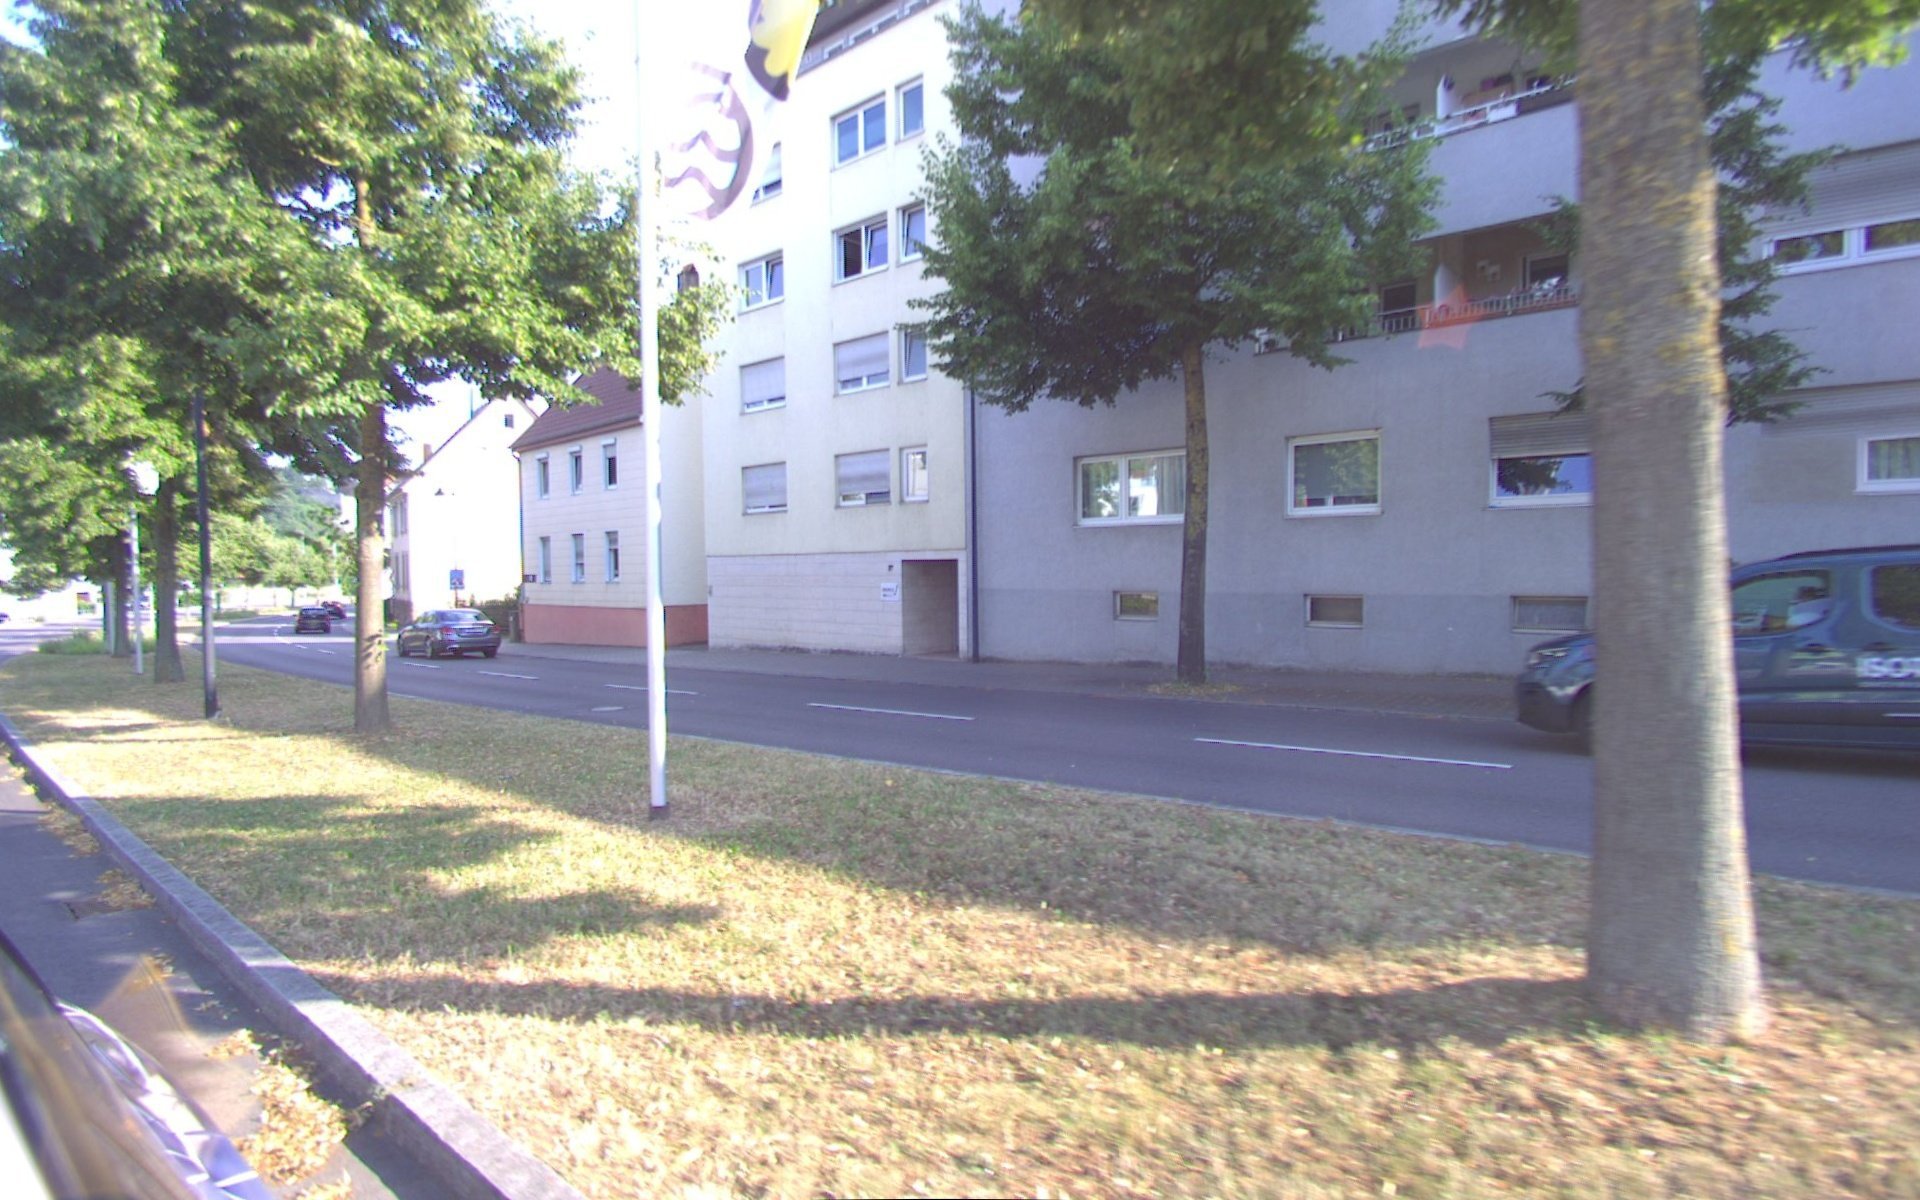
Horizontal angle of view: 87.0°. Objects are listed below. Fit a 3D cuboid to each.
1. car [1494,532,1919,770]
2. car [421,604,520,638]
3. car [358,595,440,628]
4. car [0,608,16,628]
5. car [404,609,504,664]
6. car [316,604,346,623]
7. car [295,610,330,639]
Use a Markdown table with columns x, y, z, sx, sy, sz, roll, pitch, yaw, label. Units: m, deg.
| x | y | z | sx | sy | sz | roll | pitch | yaw | label |
| --- | --- | --- | --- | --- | --- | --- | --- | --- | --- |
| 7.355 | 0.376 | 8.395 | 4.917 | 1.749 | 1.834 | -1 | 0 | 39 | car |
| -24.102 | 1.006 | 49.923 | 4.285 | 1.497 | 2.018 | -2 | 1 | -25 | car |
| -38.333 | 0.758 | 69.276 | 4.758 | 1.891 | 2.006 | -4 | 2 | -29 | car |
| -73.454 | 1.389 | 75.640 | 3.772 | 1.430 | 1.944 | -2 | 1 | -28 | car |
| -15.291 | 1.021 | 30.429 | 1.828 | 1.497 | 5.007 | 0 | 0 | -37 | car |
| -53.127 | 1.110 | 85.546 | 1.913 | 1.497 | 4.338 | 0 | 0 | -29 | car |
| -36.125 | 1.340 | 56.514 | 1.583 | 1.497 | 3.795 | 0 | 0 | -32 | car |
